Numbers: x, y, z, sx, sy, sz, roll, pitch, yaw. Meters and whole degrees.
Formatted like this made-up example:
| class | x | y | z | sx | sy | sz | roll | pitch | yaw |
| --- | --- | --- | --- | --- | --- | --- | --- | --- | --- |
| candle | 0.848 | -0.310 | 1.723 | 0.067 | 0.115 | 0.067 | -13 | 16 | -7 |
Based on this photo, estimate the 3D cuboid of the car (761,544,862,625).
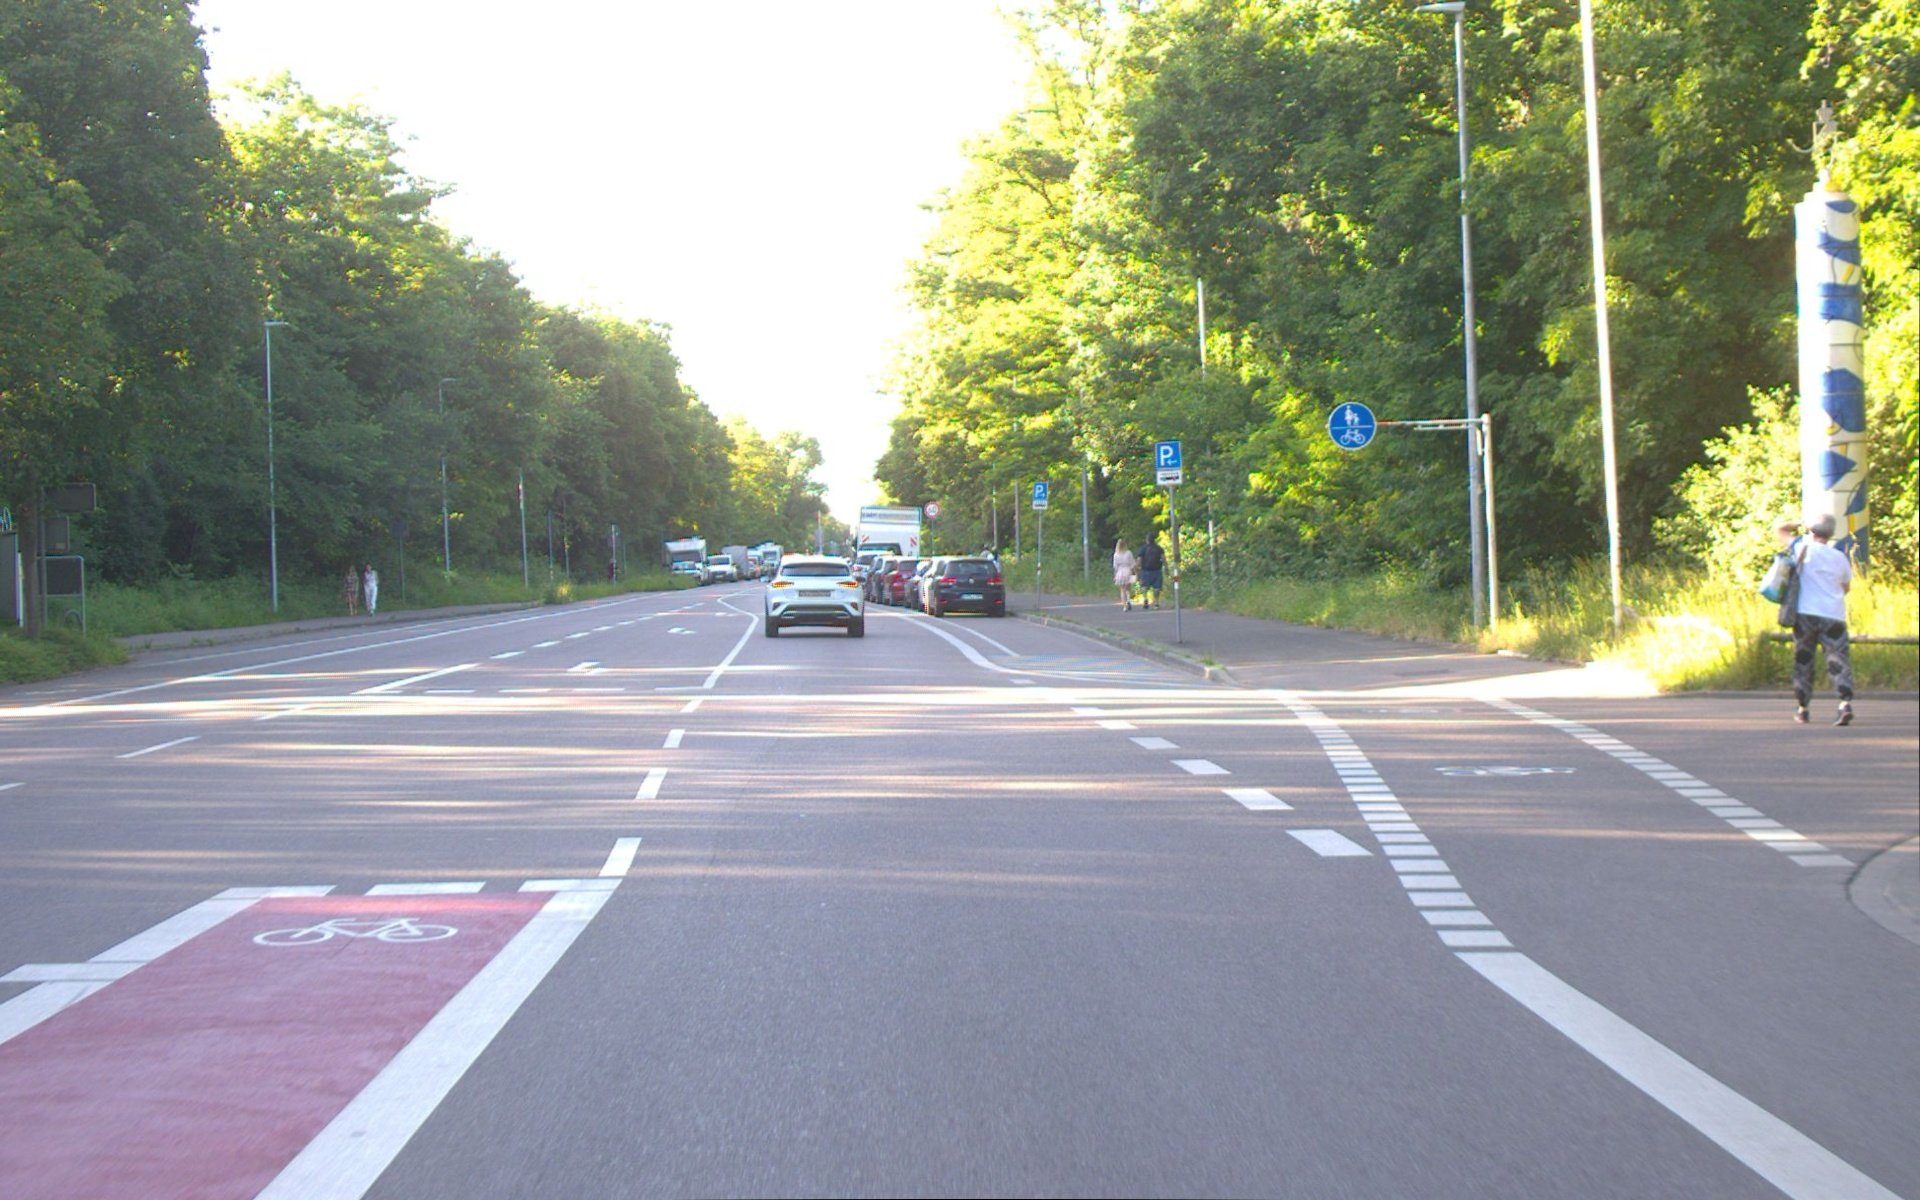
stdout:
| class | x | y | z | sx | sy | sz | roll | pitch | yaw |
| --- | --- | --- | --- | --- | --- | --- | --- | --- | --- |
| car | -2.804 | -0.311 | 64.275 | 1.761 | 1.454 | 3.818 | 0 | 1 | -4 |

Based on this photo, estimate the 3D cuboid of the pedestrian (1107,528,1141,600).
| class | x | y | z | sx | sy | sz | roll | pitch | yaw |
| --- | --- | --- | --- | --- | --- | --- | --- | --- | --- |
| pedestrian | 3.804 | -0.838 | 79.737 | 0.698 | 1.647 | 0.876 | -2 | 1 | -1 |

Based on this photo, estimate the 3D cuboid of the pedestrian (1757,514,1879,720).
| class | x | y | z | sx | sy | sz | roll | pitch | yaw |
| --- | --- | --- | --- | --- | --- | --- | --- | --- | --- |
| pedestrian | 6.634 | 0.123 | 26.610 | 0.755 | 1.558 | 0.802 | -1 | 1 | 4 |

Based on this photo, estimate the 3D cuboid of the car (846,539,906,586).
| class | x | y | z | sx | sy | sz | roll | pitch | yaw |
| --- | --- | --- | --- | --- | --- | --- | --- | --- | --- |
| car | -2.871 | -1.297 | 117.748 | 1.993 | 1.550 | 4.000 | -2 | 1 | -1 |

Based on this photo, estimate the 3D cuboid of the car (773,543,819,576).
| class | x | y | z | sx | sy | sz | roll | pitch | yaw |
| --- | --- | --- | --- | --- | --- | --- | --- | --- | --- |
| car | -7.815 | -1.926 | 163.723 | 1.993 | 1.514 | 4.000 | -2 | 1 | 0 |

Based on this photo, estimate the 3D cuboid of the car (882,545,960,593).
| class | x | y | z | sx | sy | sz | roll | pitch | yaw |
| --- | --- | --- | --- | --- | --- | --- | --- | --- | --- |
| car | -1.177 | -0.927 | 101.514 | 1.993 | 1.322 | 4.001 | -2 | 1 | -4 |

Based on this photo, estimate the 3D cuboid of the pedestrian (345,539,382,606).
| class | x | y | z | sx | sy | sz | roll | pitch | yaw |
| --- | --- | --- | --- | --- | --- | --- | --- | --- | --- |
| pedestrian | -18.258 | -0.851 | 105.273 | 0.863 | 2.007 | 1.269 | -1 | 1 | 1 |

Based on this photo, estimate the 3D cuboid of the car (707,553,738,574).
| class | x | y | z | sx | sy | sz | roll | pitch | yaw |
| --- | --- | --- | --- | --- | --- | --- | --- | --- | --- |
| car | -16.007 | -2.476 | 231.978 | 1.993 | 1.322 | 4.001 | -2 | 1 | -3 |

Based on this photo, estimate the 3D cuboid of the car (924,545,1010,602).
| class | x | y | z | sx | sy | sz | roll | pitch | yaw |
| --- | --- | --- | --- | --- | --- | --- | --- | --- | --- |
| car | 0.146 | -0.684 | 85.824 | 1.993 | 1.322 | 4.000 | -2 | 1 | -1 |

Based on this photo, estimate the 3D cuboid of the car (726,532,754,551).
| class | x | y | z | sx | sy | sz | roll | pitch | yaw |
| --- | --- | --- | --- | --- | --- | --- | --- | --- | --- |
| car | -16.336 | -4.359 | 255.094 | 1.993 | 1.322 | 4.001 | -2 | 1 | -3 |

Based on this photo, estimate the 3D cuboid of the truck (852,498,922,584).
| class | x | y | z | sx | sy | sz | roll | pitch | yaw |
| --- | --- | --- | --- | --- | --- | --- | --- | --- | --- |
| truck | -3.119 | -2.496 | 145.247 | 2.799 | 3.558 | 8.036 | 0 | 1 | -2 |

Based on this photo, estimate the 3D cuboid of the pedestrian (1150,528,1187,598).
| class | x | y | z | sx | sy | sz | roll | pitch | yaw |
| --- | --- | --- | --- | --- | --- | --- | --- | --- | --- |
| pedestrian | 4.828 | -0.859 | 79.777 | 0.743 | 1.593 | 0.798 | -2 | 1 | -1 |

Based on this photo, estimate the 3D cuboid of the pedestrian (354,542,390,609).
| class | x | y | z | sx | sy | sz | roll | pitch | yaw |
| --- | --- | --- | --- | --- | --- | --- | --- | --- | --- |
| pedestrian | -18.004 | -0.763 | 105.271 | 0.831 | 2.007 | 1.269 | -2 | 1 | 1 |
